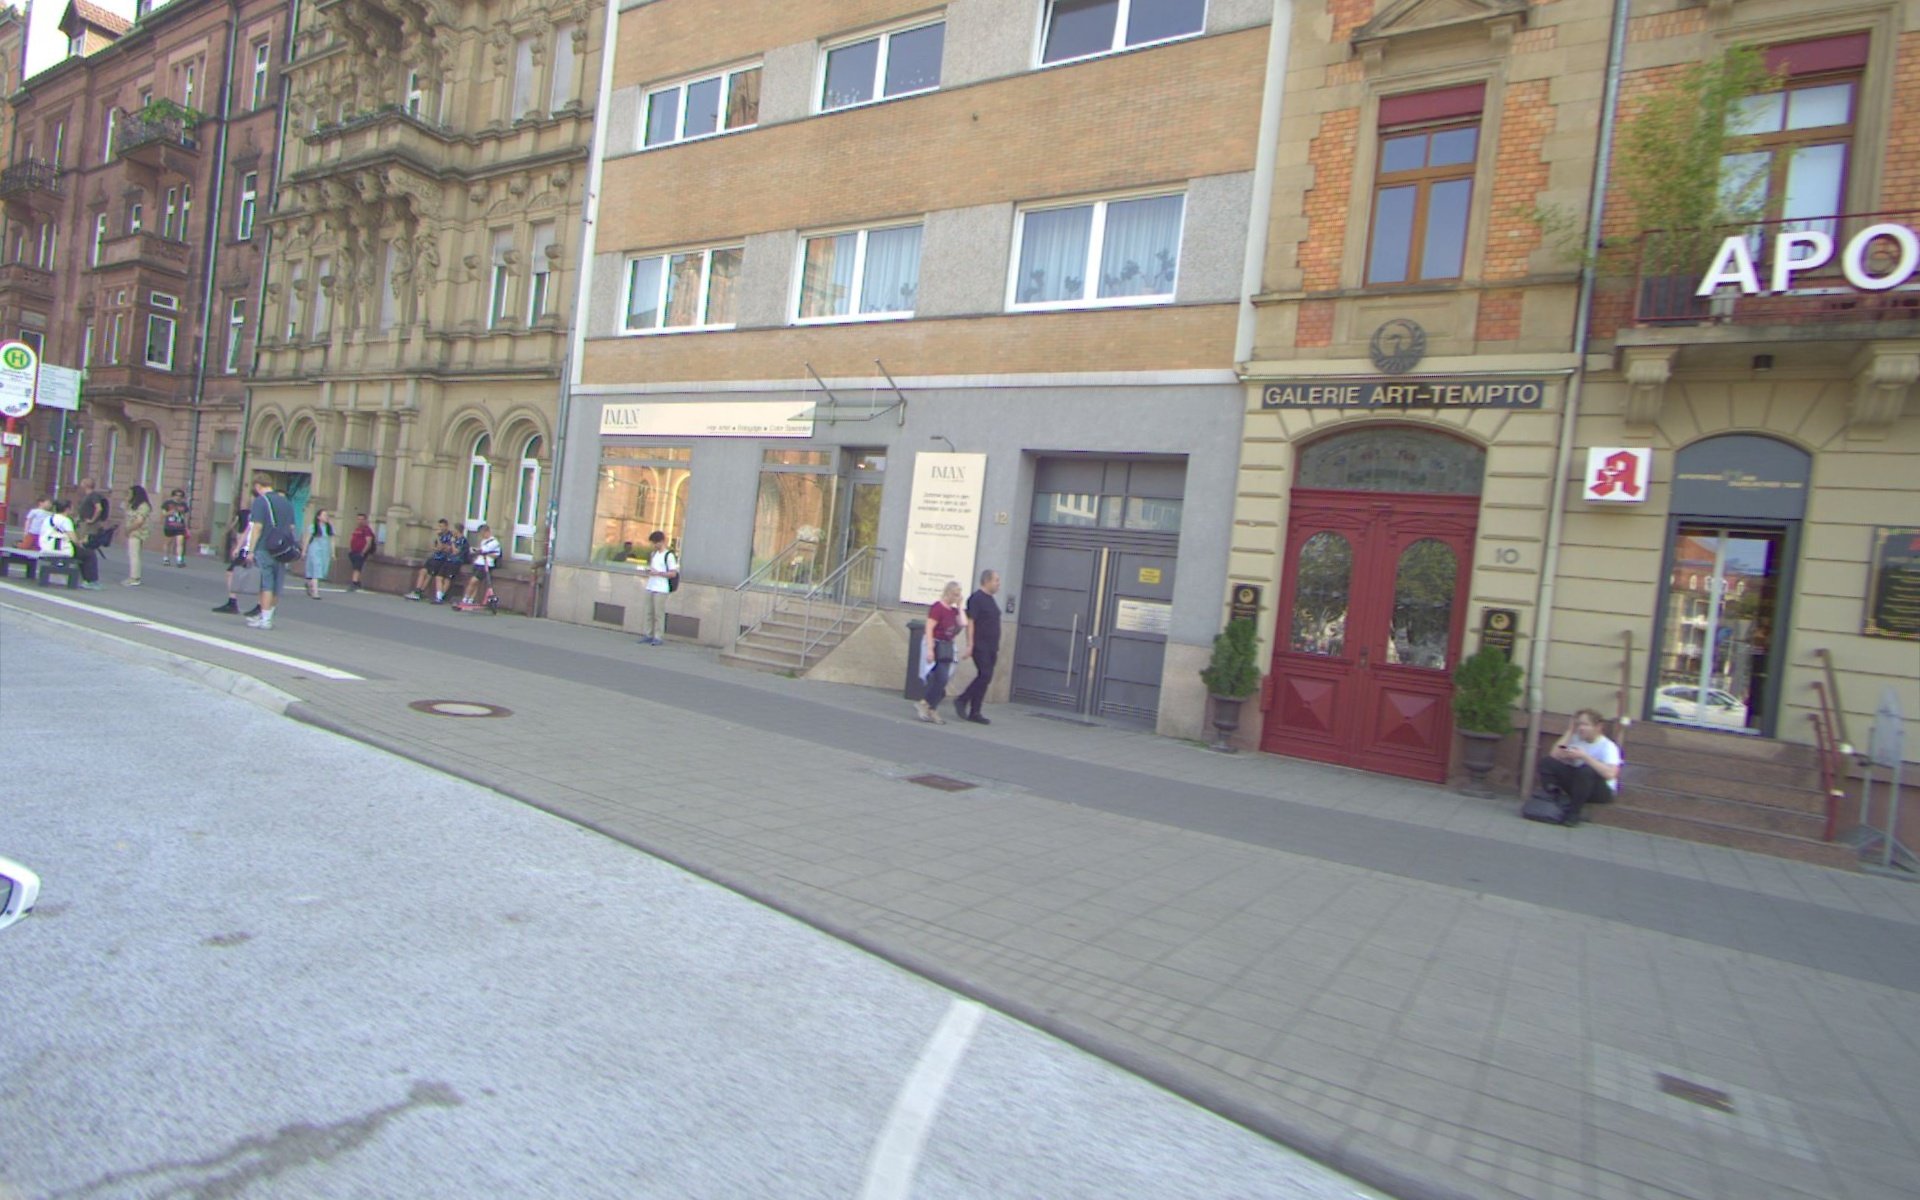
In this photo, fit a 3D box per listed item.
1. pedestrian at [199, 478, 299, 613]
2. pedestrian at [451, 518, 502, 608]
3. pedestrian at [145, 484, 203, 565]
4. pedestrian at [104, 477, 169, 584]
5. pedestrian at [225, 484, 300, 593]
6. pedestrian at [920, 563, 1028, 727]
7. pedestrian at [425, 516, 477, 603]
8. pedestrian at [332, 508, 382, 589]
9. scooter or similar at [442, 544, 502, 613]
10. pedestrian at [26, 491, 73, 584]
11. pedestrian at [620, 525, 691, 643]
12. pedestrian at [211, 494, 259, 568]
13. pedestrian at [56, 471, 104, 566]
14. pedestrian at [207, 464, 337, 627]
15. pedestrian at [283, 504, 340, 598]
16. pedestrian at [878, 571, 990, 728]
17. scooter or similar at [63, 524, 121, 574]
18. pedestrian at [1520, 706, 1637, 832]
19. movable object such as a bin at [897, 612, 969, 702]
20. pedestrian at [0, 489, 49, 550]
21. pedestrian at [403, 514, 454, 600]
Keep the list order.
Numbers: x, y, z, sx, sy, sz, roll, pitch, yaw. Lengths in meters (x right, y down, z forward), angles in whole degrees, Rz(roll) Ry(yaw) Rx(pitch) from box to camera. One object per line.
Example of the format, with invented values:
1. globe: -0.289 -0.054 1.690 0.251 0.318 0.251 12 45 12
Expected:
1. pedestrian: -9.910 -0.748 14.036 0.787 1.751 0.750 7 1 29
2. pedestrian: -9.804 -0.745 20.410 0.502 1.753 0.604 7 1 29
3. pedestrian: -18.365 -1.764 23.504 0.883 1.746 0.701 7 1 32
4. pedestrian: -14.338 -1.205 17.519 0.607 1.751 0.565 7 1 29
5. pedestrian: -12.454 -1.101 17.959 1.054 1.827 0.617 7 1 34
6. pedestrian: 0.170 0.525 11.938 0.842 1.810 0.720 7 1 33
7. pedestrian: -10.591 -0.834 20.934 0.577 1.713 0.604 7 1 29
8. pedestrian: -13.142 -1.112 21.930 0.577 1.675 0.604 7 1 29
9. scooter or similar: -9.291 -0.416 19.142 1.133 1.178 0.360 7 1 30
10. pedestrian: -13.090 -0.897 14.467 0.440 1.290 0.275 7 1 26
11. pedestrian: -5.065 -0.264 16.741 0.729 1.855 0.604 7 1 29
12. pedestrian: -18.150 -1.735 25.192 0.679 1.741 0.630 7 1 32
13. pedestrian: -16.960 -1.573 19.392 0.792 1.754 0.341 7 1 29
14. pedestrian: -8.418 -0.649 12.332 0.787 1.855 0.926 7 1 29
15. pedestrian: -12.027 -0.909 18.664 0.799 1.630 0.486 7 1 34
16. pedestrian: -0.287 0.550 11.314 0.842 1.630 0.720 7 1 33
17. scooter or similar: -14.705 -0.860 17.045 0.505 0.751 0.565 7 1 29
18. pedestrian: 5.546 1.499 9.030 0.608 0.994 0.630 6 1 -38
19. movable object such as a bin: -0.352 0.750 13.450 0.657 1.094 0.739 7 1 16
20. pedestrian: -13.915 -1.200 14.956 0.593 0.830 0.303 7 1 25
21. pedestrian: -11.207 -0.903 21.221 0.577 1.713 0.604 7 1 29
